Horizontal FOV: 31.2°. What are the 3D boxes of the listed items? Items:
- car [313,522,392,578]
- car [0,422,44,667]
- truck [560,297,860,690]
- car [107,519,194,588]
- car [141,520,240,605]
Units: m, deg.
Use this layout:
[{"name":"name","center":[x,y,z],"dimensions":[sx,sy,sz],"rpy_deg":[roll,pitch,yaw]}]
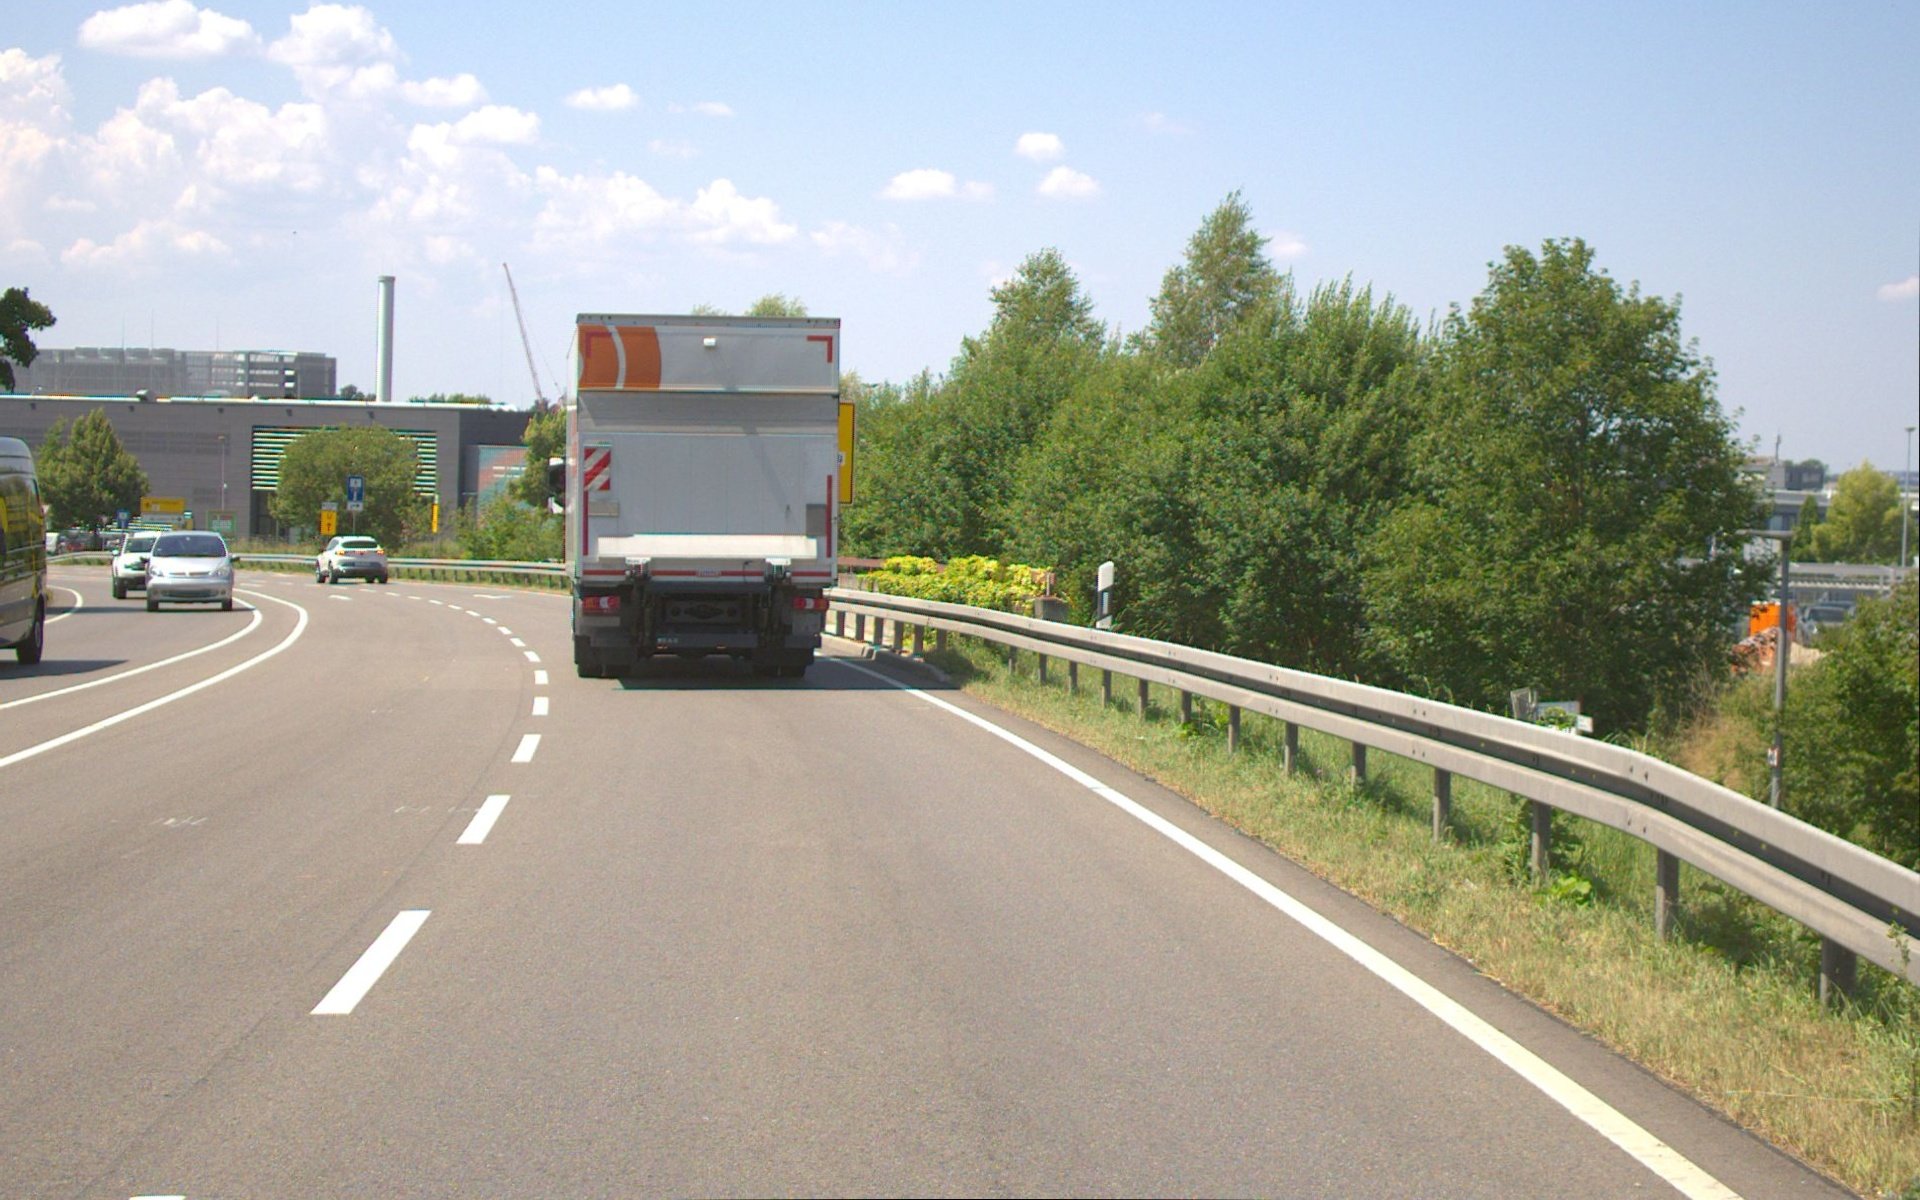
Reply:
[{"name":"car","center":[-19.360,-1.597,109.377],"dimensions":[1.943,1.658,4.001],"rpy_deg":[3,0,-17]},{"name":"car","center":[-11.329,-0.624,37.192],"dimensions":[2.187,2.532,6.039],"rpy_deg":[1,1,-10]},{"name":"truck","center":[-2.816,-1.129,37.226],"dimensions":[2.803,3.698,9.110],"rpy_deg":[1,2,-6]},{"name":"car","center":[-19.620,-1.149,83.392],"dimensions":[1.993,1.623,4.198],"rpy_deg":[0,1,-13]},{"name":"car","center":[-15.479,-0.773,69.130],"dimensions":[1.836,1.587,4.818],"rpy_deg":[1,1,-13]}]
